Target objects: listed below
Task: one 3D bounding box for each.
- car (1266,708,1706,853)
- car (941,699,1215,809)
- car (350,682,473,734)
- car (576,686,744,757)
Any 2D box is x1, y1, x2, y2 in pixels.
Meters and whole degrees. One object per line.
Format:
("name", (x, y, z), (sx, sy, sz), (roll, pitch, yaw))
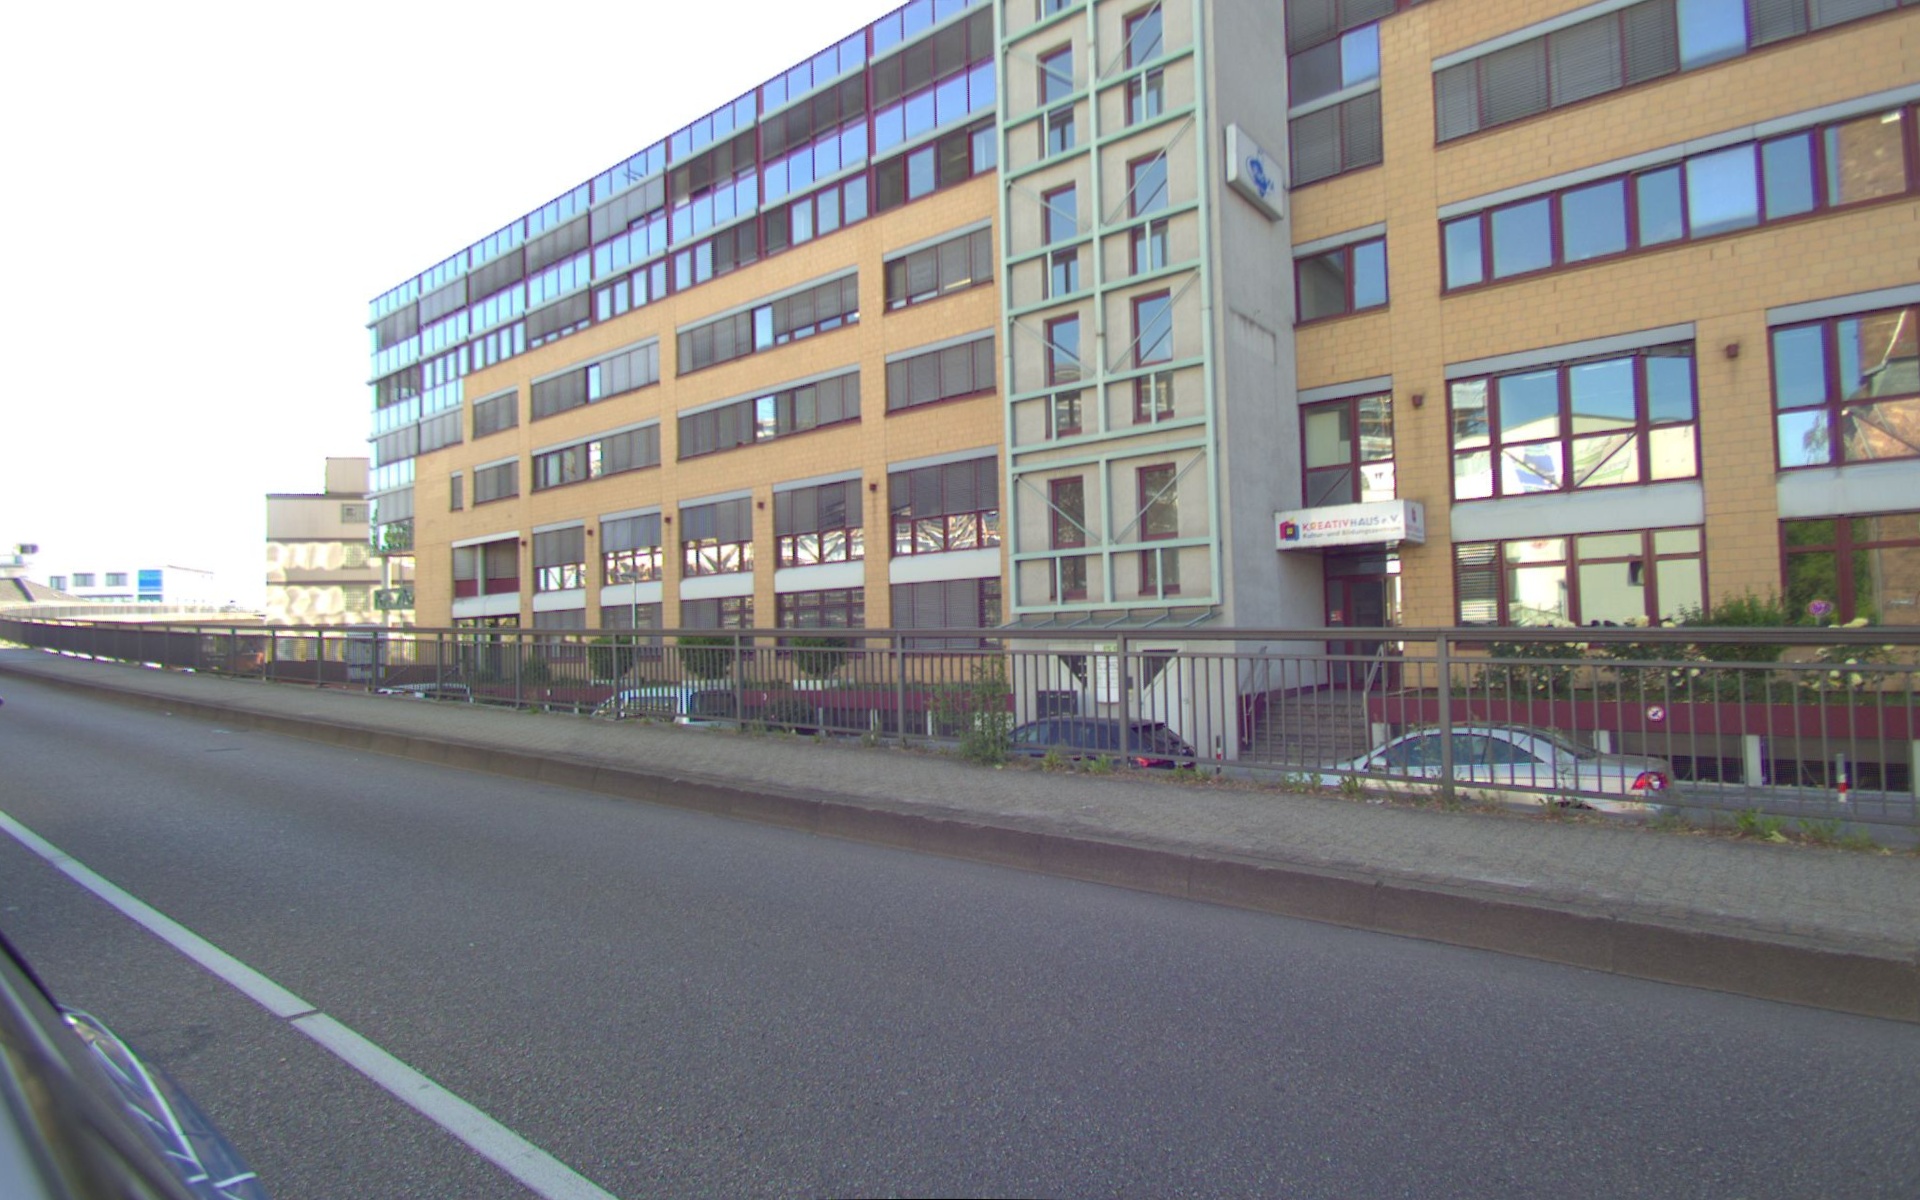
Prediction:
("car", (5.947, 1.948, 11.738), (4.253, 1.175, 1.704), (-3, -4, 39))
("car", (1.670, 2.189, 15.026), (3.804, 1.279, 1.560), (-3, -4, 39))
("car", (-15.717, 3.040, 28.949), (3.804, 1.279, 1.744), (-3, -4, 39))
("car", (-6.423, 2.516, 21.539), (3.804, 1.279, 1.560), (-3, -4, 39))
